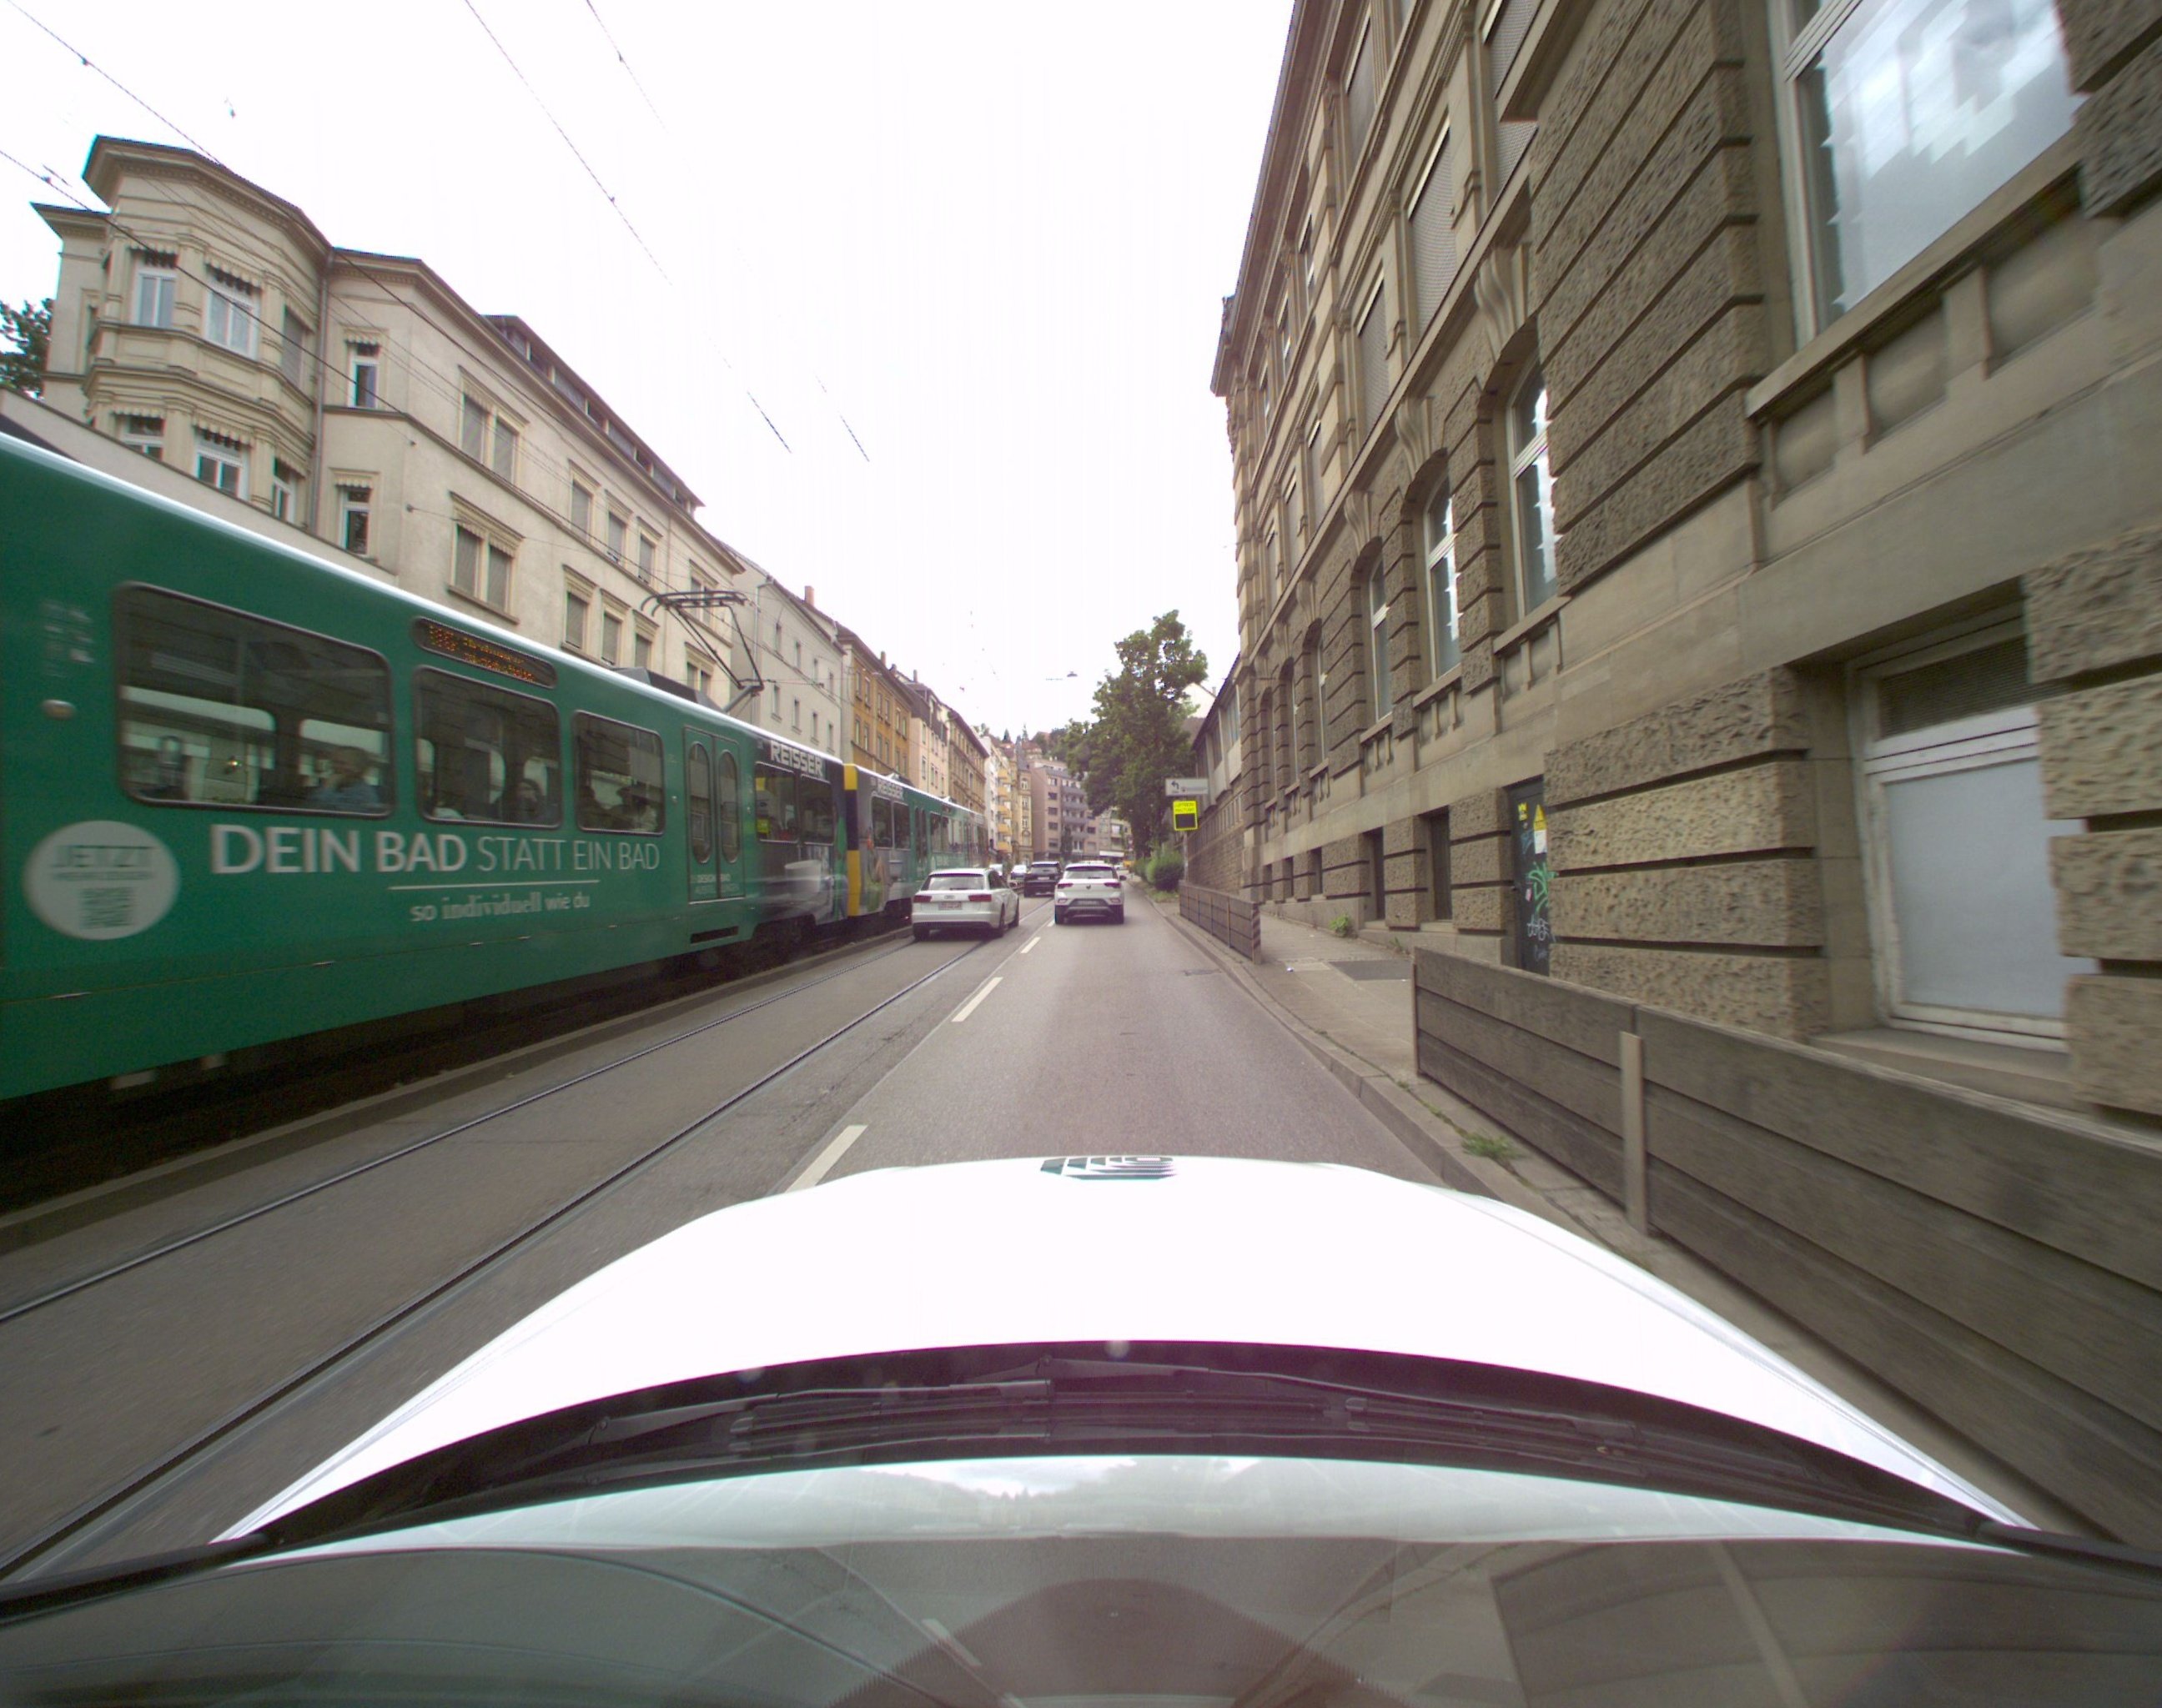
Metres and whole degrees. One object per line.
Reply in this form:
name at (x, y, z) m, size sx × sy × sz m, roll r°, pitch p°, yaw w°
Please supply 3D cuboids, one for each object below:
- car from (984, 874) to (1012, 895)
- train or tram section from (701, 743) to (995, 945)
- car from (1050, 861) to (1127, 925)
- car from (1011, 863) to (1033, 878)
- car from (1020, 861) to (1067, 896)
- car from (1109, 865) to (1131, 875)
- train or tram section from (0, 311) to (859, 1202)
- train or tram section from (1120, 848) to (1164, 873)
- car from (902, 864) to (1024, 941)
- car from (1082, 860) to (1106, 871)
car at (-6.675, 2.421, 65.688) m, size 1.737 × 1.596 × 3.970 m, roll -1°, pitch -1°, yaw 2°
train or tram section at (-5.339, -0.102, 24.582) m, size 2.865 × 3.726 × 18.763 m, roll 1°, pitch -1°, yaw 2°
car at (0.203, 0.980, 22.005) m, size 1.872 × 1.554 × 4.000 m, roll -1°, pitch -1°, yaw 0°
car at (-6.215, 1.716, 86.173) m, size 1.836 × 1.455 × 4.662 m, roll -1°, pitch -1°, yaw 2°
car at (-1.750, 1.137, 39.000) m, size 2.031 × 1.571 × 4.357 m, roll -1°, pitch -1°, yaw 0°
car at (7.651, 3.198, 160.318) m, size 1.885 × 1.922 × 4.463 m, roll -1°, pitch -1°, yaw 40°
train or tram section at (-5.887, -0.393, 5.833) m, size 2.865 × 3.726 × 18.762 m, roll 1°, pitch -1°, yaw 2°
train or tram section at (11.406, 1.232, 148.921) m, size 2.991 × 4.214 × 18.952 m, roll 0°, pitch -1°, yaw 20°
car at (-2.463, 1.001, 18.178) m, size 1.871 × 1.455 × 4.619 m, roll -2°, pitch -1°, yaw 2°
car at (2.509, 2.268, 155.074) m, size 1.974 × 2.035 × 4.731 m, roll -1°, pitch -1°, yaw 40°
